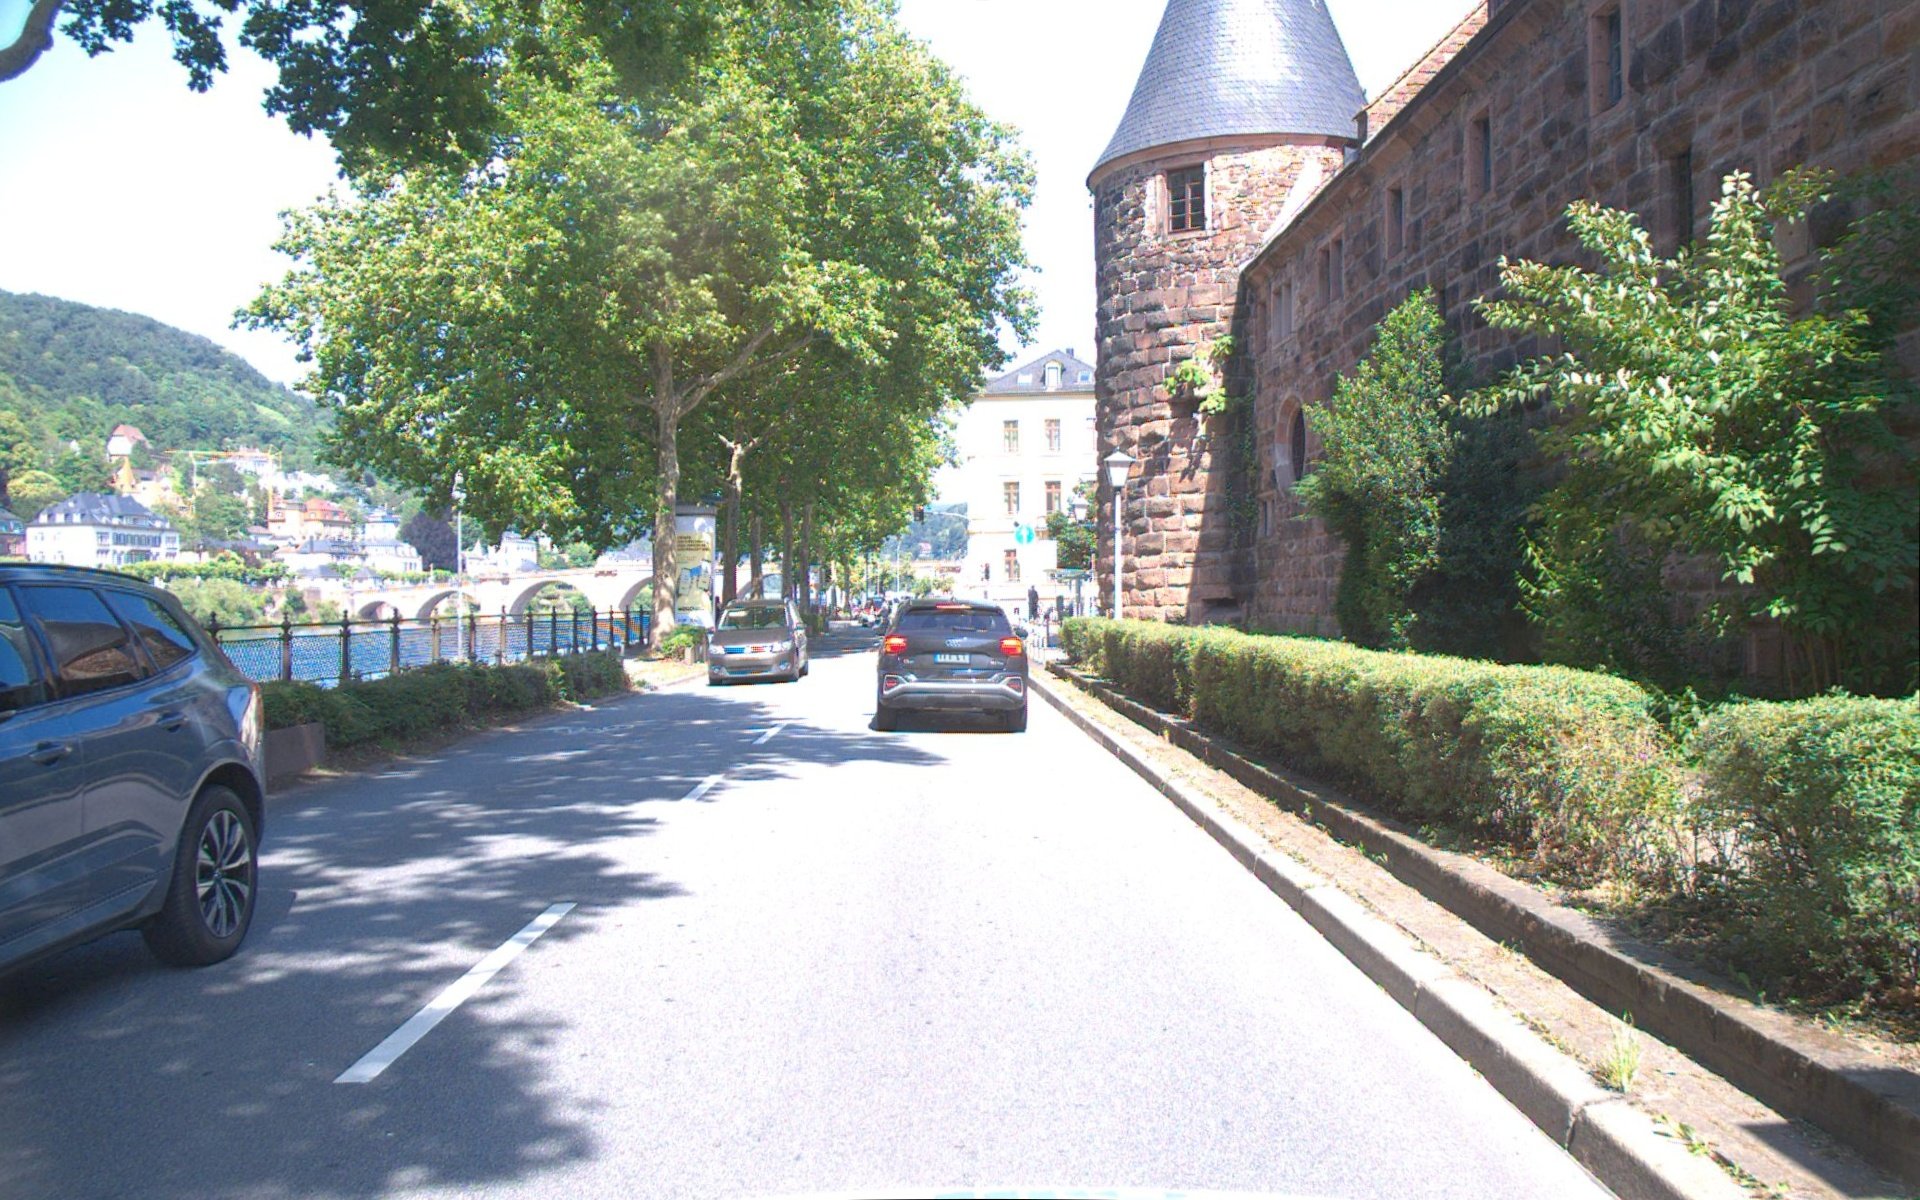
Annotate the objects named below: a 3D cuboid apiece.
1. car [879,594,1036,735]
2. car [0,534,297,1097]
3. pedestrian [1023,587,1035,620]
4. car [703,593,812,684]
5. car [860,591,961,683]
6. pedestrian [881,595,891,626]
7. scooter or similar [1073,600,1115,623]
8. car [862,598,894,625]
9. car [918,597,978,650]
[{"bbox_3d":[-0.088,0.717,20.114,1.713,1.521,3.627,1,0,-2],"label":"car"},{"bbox_3d":[-3.896,0.697,5.352,1.839,1.728,4.257,-2,0,-2],"label":"car"},{"bbox_3d":[3.446,0.177,82.140,0.545,1.661,0.660,1,-1,0],"label":"pedestrian"},{"bbox_3d":[-4.028,0.726,33.481,1.728,1.676,4.088,-2,0,-1],"label":"car"},{"bbox_3d":[-0.897,0.655,31.267,1.764,1.590,3.715,-2,0,-1],"label":"car"},{"bbox_3d":[-4.092,0.577,91.323,0.507,1.666,0.438,-2,0,-8],"label":"pedestrian"},{"bbox_3d":[6.062,0.524,74.748,1.808,0.980,0.429,2,-1,-2],"label":"scooter or similar"},{"bbox_3d":[-4.823,0.677,97.706,1.581,1.549,3.476,-2,0,1],"label":"car"},{"bbox_3d":[-0.378,0.697,50.669,1.764,1.549,3.715,0,0,-1],"label":"car"}]
